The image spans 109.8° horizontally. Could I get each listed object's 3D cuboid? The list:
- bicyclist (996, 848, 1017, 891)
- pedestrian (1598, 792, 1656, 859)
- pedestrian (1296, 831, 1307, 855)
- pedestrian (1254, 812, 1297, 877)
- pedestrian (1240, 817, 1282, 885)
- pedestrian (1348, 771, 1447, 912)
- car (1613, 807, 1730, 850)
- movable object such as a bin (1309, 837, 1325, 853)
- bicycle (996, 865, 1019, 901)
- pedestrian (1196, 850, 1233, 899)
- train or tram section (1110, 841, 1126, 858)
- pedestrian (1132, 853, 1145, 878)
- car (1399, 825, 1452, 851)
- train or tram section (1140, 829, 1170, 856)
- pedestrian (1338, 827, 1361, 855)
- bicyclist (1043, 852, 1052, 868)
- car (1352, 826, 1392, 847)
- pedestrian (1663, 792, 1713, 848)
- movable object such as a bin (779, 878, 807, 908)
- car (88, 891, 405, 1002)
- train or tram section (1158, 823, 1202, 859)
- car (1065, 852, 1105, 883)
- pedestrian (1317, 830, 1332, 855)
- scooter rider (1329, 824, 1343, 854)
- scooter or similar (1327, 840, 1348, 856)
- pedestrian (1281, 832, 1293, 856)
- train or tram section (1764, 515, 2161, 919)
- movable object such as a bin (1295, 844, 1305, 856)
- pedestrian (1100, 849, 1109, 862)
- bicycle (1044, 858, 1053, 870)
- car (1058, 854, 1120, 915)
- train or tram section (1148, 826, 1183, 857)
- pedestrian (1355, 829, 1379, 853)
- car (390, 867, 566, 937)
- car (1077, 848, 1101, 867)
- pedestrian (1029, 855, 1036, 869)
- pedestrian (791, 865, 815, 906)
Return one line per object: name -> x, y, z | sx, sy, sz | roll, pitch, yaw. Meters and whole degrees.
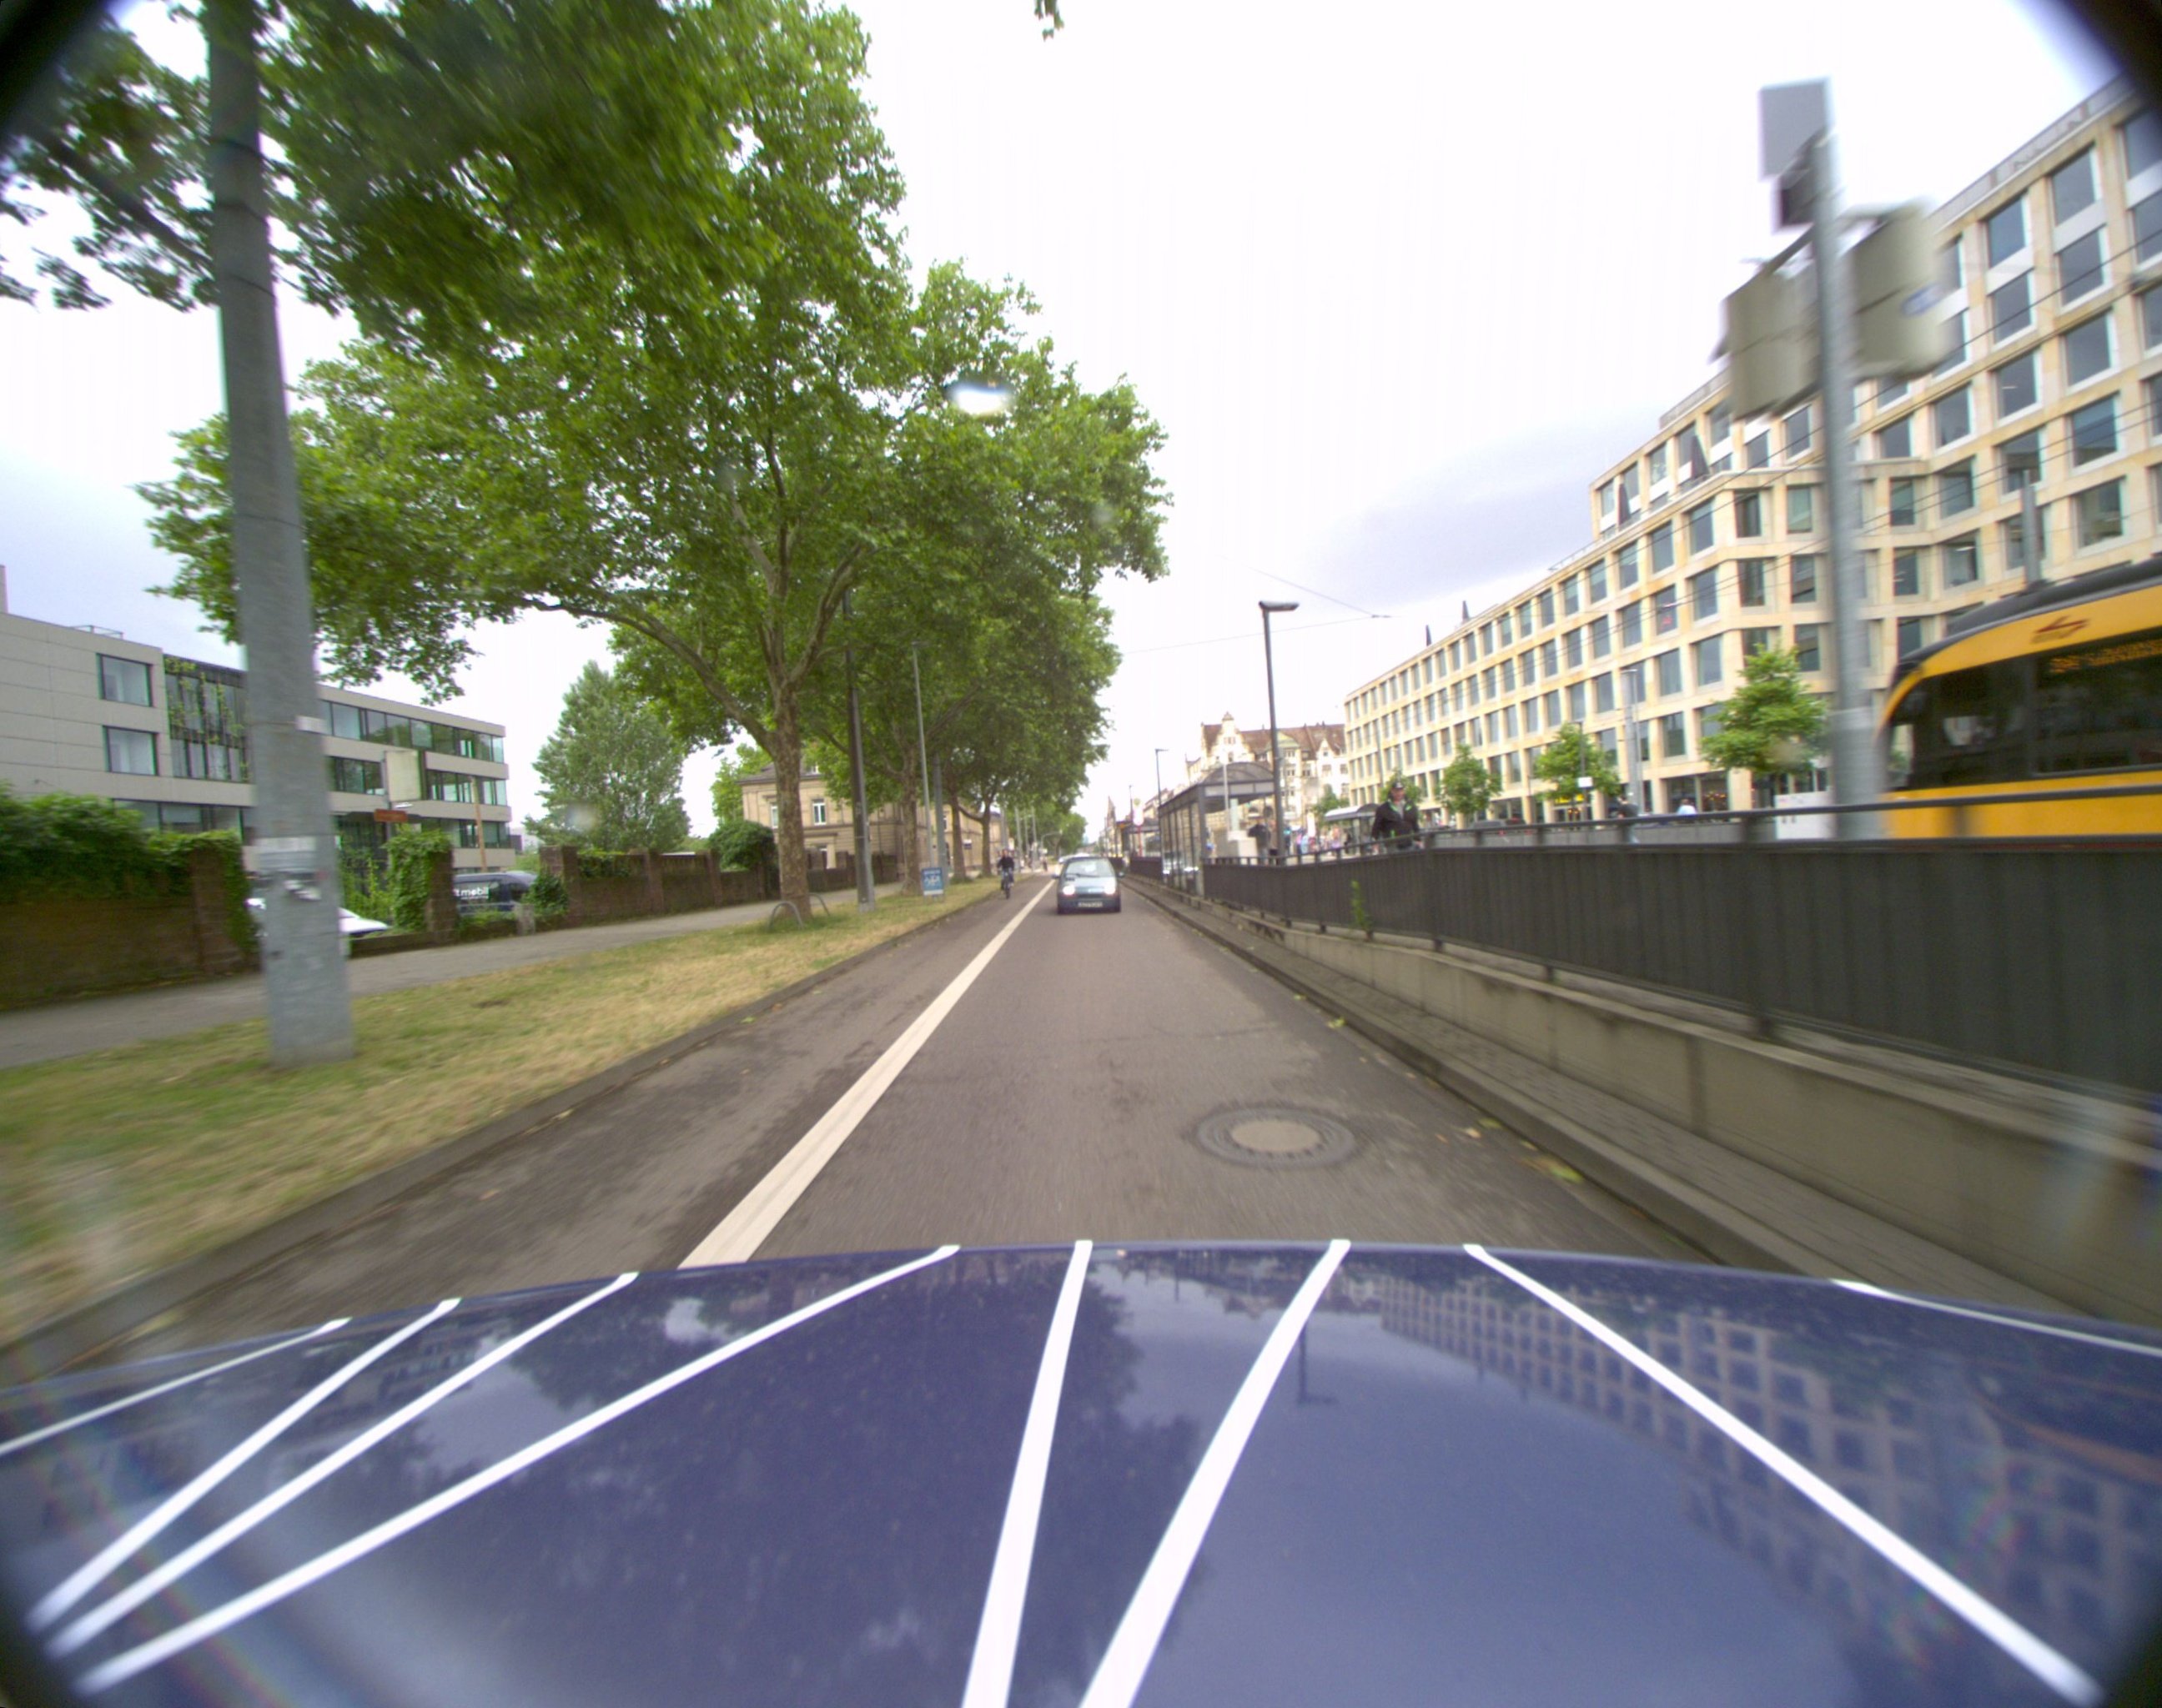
bicyclist -> -2.741, 0.562, 28.119 | 0.642, 1.522, 0.664 | -4, 1, -2
pedestrian -> 15.406, -0.789, 21.454 | 0.713, 1.785, 1.160 | -4, 1, -1
pedestrian -> 14.826, -0.735, 51.137 | 0.536, 1.598, 0.565 | -4, 1, 7
pedestrian -> 5.626, -0.269, 22.054 | 0.672, 1.783, 1.112 | -4, 1, -13
pedestrian -> 4.931, -0.084, 20.885 | 0.672, 1.783, 1.112 | -4, 1, -9
pedestrian -> 4.792, -0.186, 11.574 | 1.061, 2.002, 0.840 | -4, 1, 0
car -> 25.633, -1.067, 33.178 | 1.998, 1.652, 4.000 | -4, 1, 2
movable object such as a bin -> 15.506, -0.609, 49.830 | 0.622, 1.015, 0.721 | -5, 1, -33
bicycle -> -2.692, 1.042, 28.026 | 0.654, 1.143, 2.282 | -4, 1, -2
pedestrian -> 3.699, 0.555, 21.161 | 0.837, 1.296, 0.613 | -4, 1, -1
train or tram section -> 8.061, -1.111, 165.690 | 2.651, 3.417, 13.616 | -4, 1, 0
pedestrian -> 3.306, 0.645, 43.671 | 0.612, 1.365, 0.600 | -4, 1, 0
car -> 24.561, -1.156, 54.269 | 1.998, 1.652, 4.000 | -4, 1, 2
train or tram section -> 10.739, -1.699, 111.433 | 2.862, 3.619, 11.762 | -4, 1, -1
pedestrian -> 16.595, -0.788, 47.058 | 1.040, 1.676, 0.939 | -4, 1, 3
bicyclist -> -3.455, 0.603, 79.417 | 0.812, 1.591, 1.189 | -4, 1, -1
car -> 25.503, -1.550, 66.616 | 1.998, 1.652, 4.000 | -4, 1, 2
pedestrian -> 22.497, -1.247, 28.167 | 0.935, 2.002, 1.032 | -4, 1, -1
movable object such as a bin -> -11.540, 1.548, 30.473 | 0.613, 1.106, 1.015 | -4, 0, 6
car -> -19.313, 2.090, 17.799 | 4.889, 2.002, 1.999 | -4, 1, -2
train or tram section -> 11.178, -1.469, 87.080 | 2.862, 3.671, 13.517 | -4, 1, -1
car -> 0.212, 0.688, 41.495 | 1.998, 1.443, 4.099 | -4, 1, 0
pedestrian -> 16.047, -0.785, 50.103 | 0.580, 1.598, 0.655 | -5, 2, -33
scooter rider -> 14.513, -0.850, 43.235 | 0.552, 1.640, 0.405 | -3, 2, 39
scooter or similar -> 14.604, -0.341, 43.209 | 1.001, 0.845, 0.389 | -3, 2, 39
pedestrian -> 15.909, -0.771, 58.680 | 0.589, 1.759, 0.596 | -5, 2, -37
train or tram section -> 11.952, -1.372, 5.776 | 3.246, 3.840, 11.309 | -4, 1, 0
movable object such as a bin -> 14.909, -0.287, 51.662 | 0.536, 0.743, 0.469 | -4, 1, 7
pedestrian -> 2.915, 0.201, 95.032 | 0.862, 1.633, 0.651 | -5, 2, -42
bicycle -> -3.423, 0.996, 79.380 | 0.815, 1.163, 2.276 | -4, 1, -2
car -> 0.252, 0.792, 21.387 | 1.534, 1.464, 3.353 | -3, 1, 1
train or tram section -> 10.919, -1.628, 99.681 | 2.862, 3.619, 11.696 | -4, 1, -1
pedestrian -> 16.954, -0.783, 45.060 | 1.040, 1.364, 0.939 | -4, 1, 3
car -> -21.085, 1.633, 26.730 | 4.359, 2.002, 1.999 | -4, 1, -2
car -> 0.693, 0.265, 66.877 | 1.998, 1.443, 4.099 | -4, 1, 0
pedestrian -> -5.393, 0.926, 84.412 | 0.552, 1.520, 0.639 | -3, 1, 17
pedestrian -> -11.473, 1.292, 31.358 | 0.559, 1.623, 0.670 | -4, 1, 6
